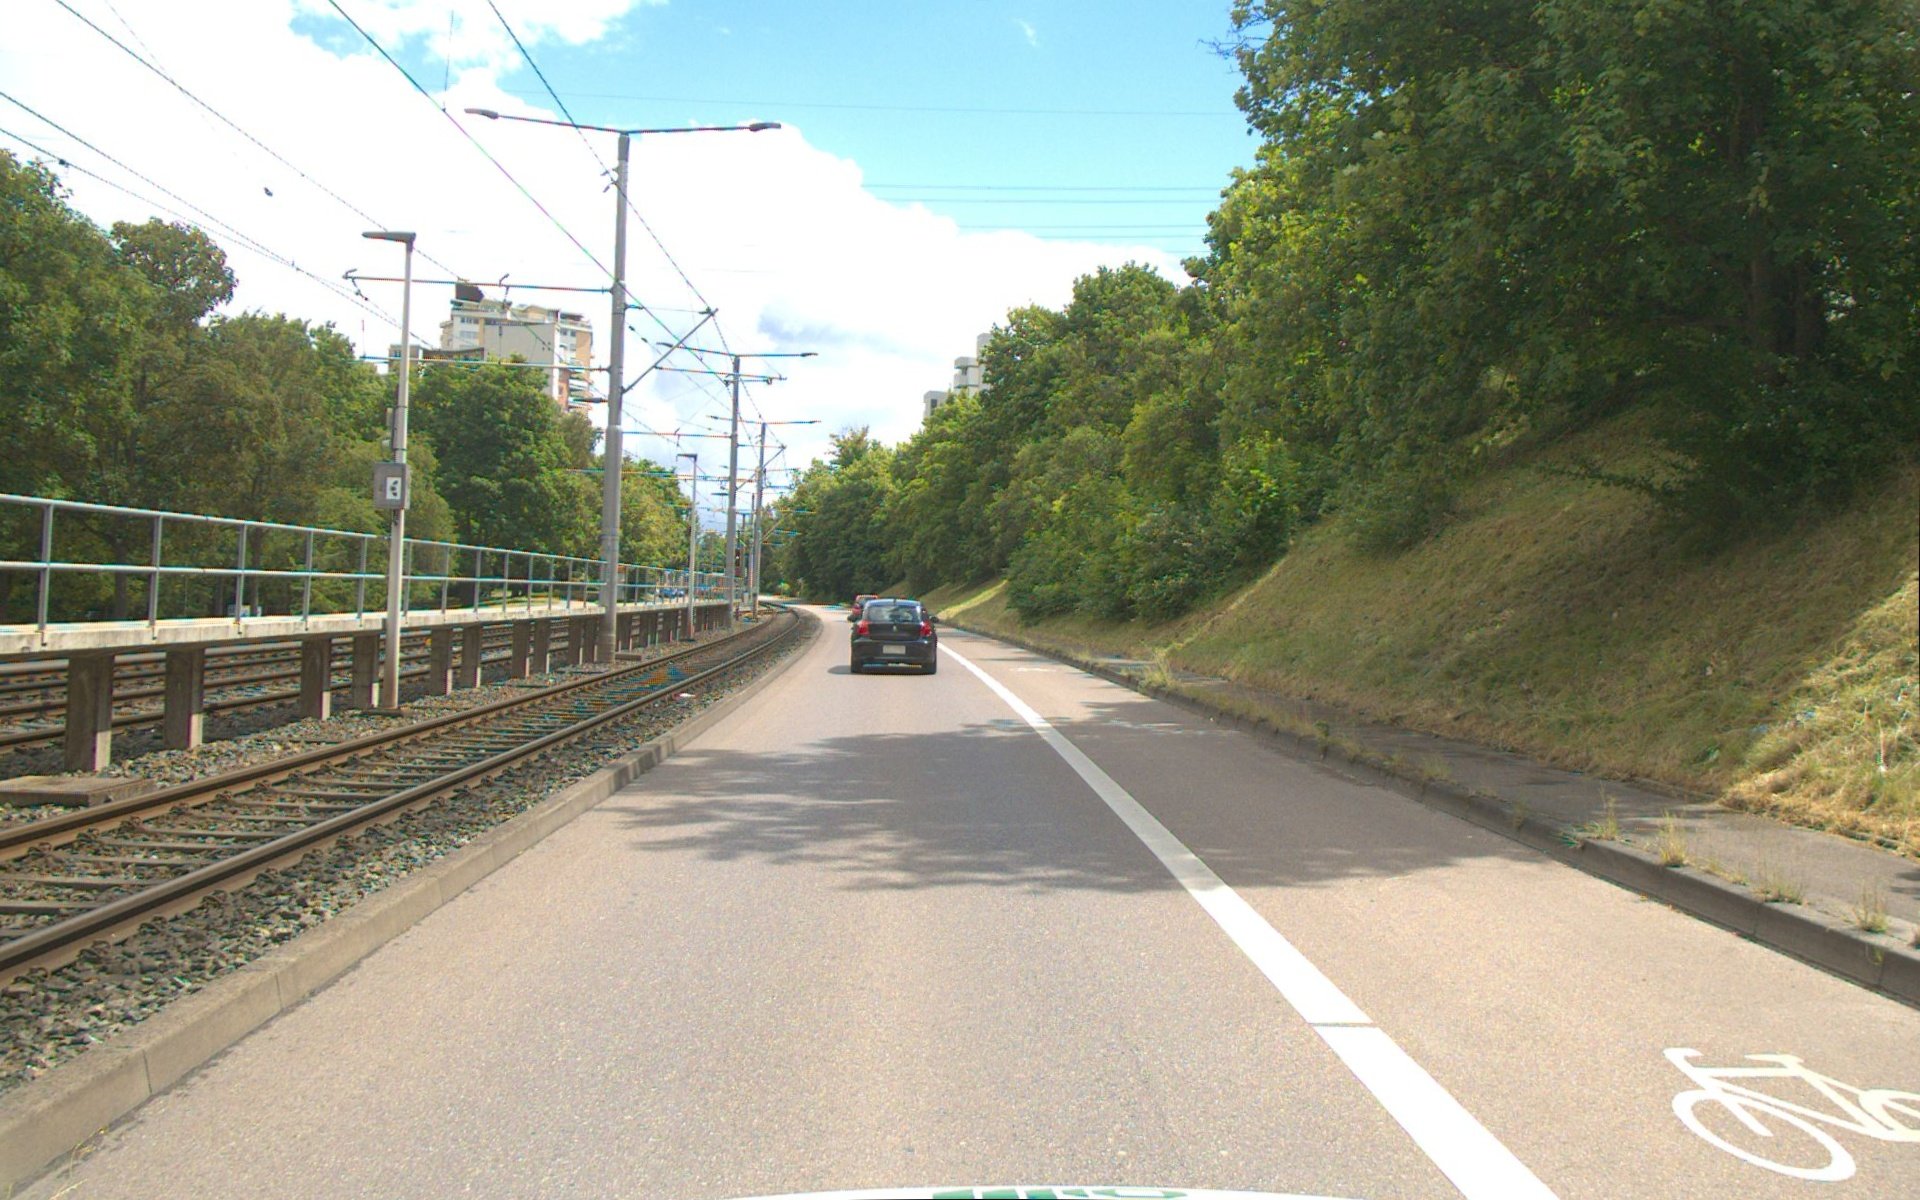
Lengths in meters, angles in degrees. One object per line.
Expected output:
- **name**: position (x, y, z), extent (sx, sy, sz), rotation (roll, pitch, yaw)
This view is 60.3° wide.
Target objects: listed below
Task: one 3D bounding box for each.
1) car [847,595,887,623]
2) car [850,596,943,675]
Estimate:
- **car**: position (-5.078, 0.478, 89.845), extent (1.749, 1.485, 3.912), rotation (1, 0, -10)
- **car**: position (-1.326, 0.679, 33.201), extent (1.746, 1.485, 3.918), rotation (0, 0, -4)
